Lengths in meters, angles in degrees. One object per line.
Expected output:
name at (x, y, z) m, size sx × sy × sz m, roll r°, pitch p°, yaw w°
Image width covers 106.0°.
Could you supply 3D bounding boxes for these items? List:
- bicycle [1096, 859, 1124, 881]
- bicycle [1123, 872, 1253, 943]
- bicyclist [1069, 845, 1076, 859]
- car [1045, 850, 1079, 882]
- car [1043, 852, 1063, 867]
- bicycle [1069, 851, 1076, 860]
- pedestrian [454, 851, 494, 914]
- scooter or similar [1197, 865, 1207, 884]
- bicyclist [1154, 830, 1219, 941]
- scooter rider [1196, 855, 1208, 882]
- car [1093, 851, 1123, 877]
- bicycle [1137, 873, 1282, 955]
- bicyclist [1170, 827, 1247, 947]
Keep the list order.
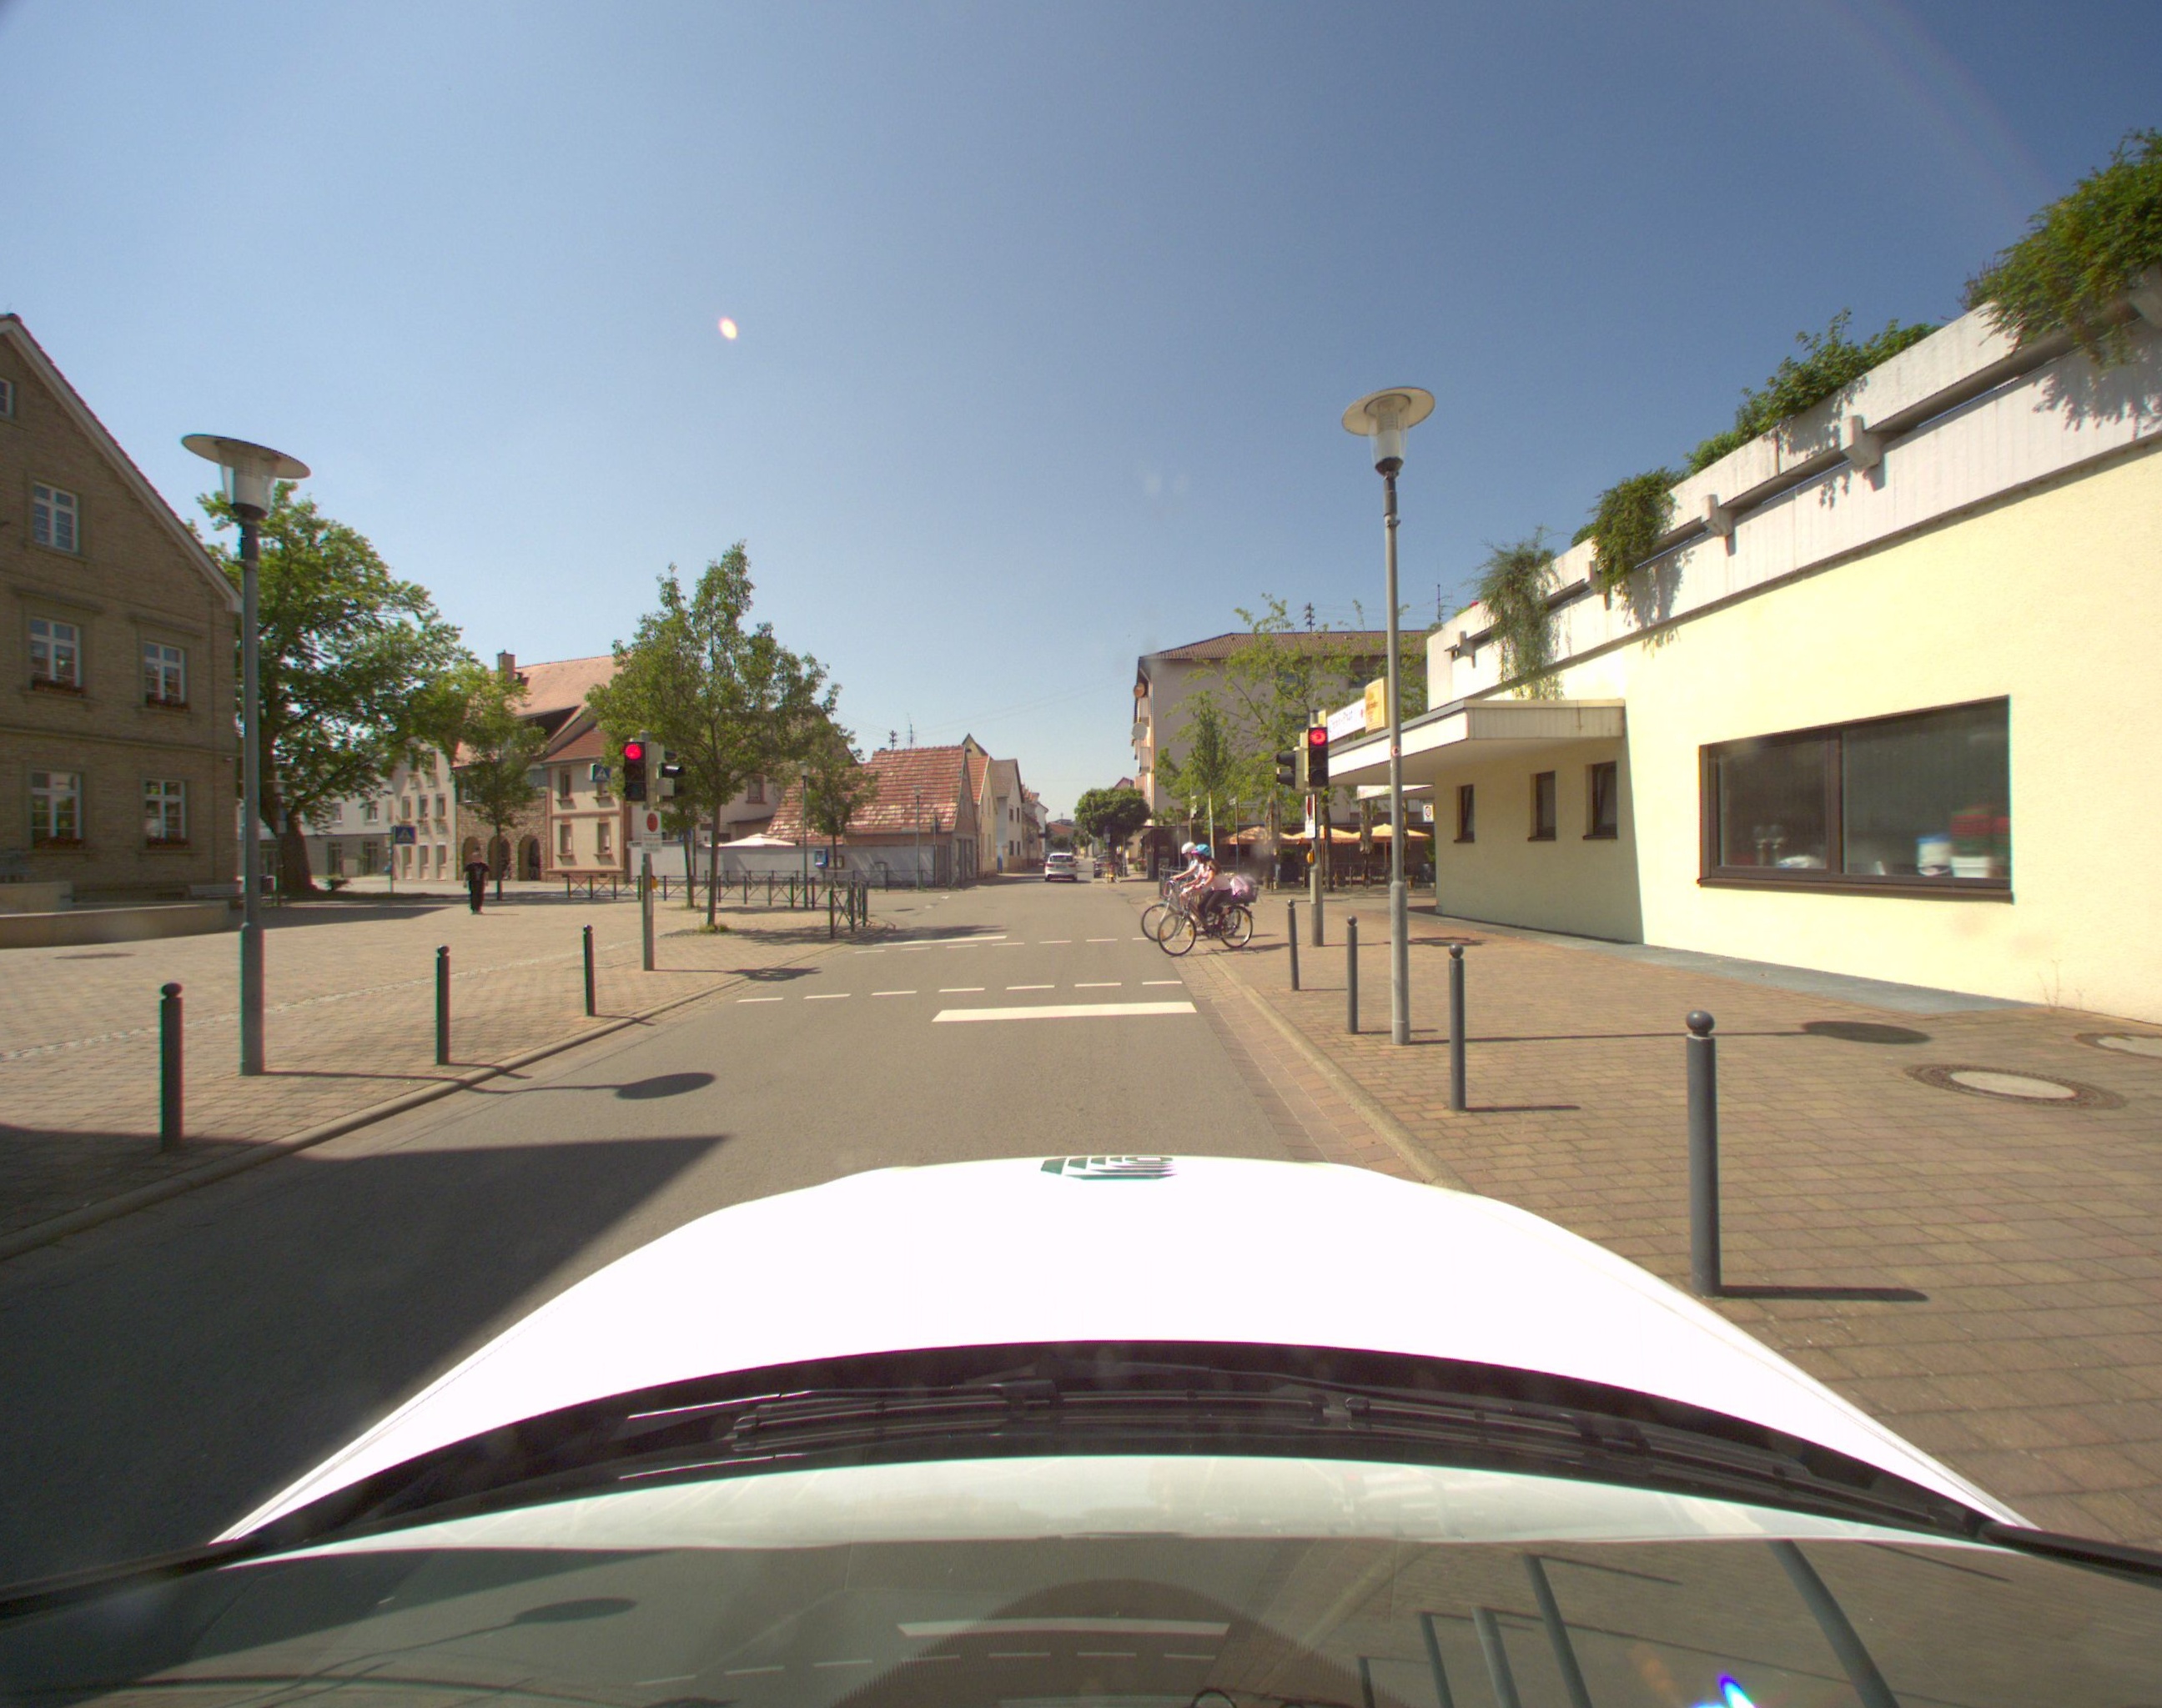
bicycle at (1.544, 0.850, 43.555) m, size 0.530 × 1.193 × 1.655 m, roll -1°, pitch 0°, yaw -42°
bicycle at (1.678, 0.816, 12.881) m, size 1.892 × 0.958 × 0.673 m, roll -3°, pitch 0°, yaw -13°
bicyclist at (-0.971, -0.219, 90.486) m, size 0.671 × 1.483 × 0.770 m, roll -1°, pitch 0°, yaw 1°
car at (-1.101, 0.646, 46.122) m, size 1.829 × 1.652 × 3.996 m, roll 1°, pitch 1°, yaw -3°
car at (-2.809, 0.524, 83.277) m, size 1.707 × 1.517 × 3.789 m, roll -1°, pitch 0°, yaw 3°
bicycle at (-0.971, 0.131, 90.560) m, size 0.662 × 1.006 × 1.898 m, roll -1°, pitch 0°, yaw 1°
pedestrian at (-16.314, 0.759, 21.885) m, size 0.819 × 1.654 × 0.841 m, roll 0°, pitch -1°, yaw -39°
scooter or similar at (5.692, 0.945, 38.285) m, size 0.376 × 0.873 × 0.894 m, roll -1°, pitch 0°, yaw 16°
bicyclist at (1.658, 0.482, 12.880) m, size 0.760 × 1.664 × 0.668 m, roll -3°, pitch 0°, yaw -12°
scooter rider at (5.684, 0.672, 38.281) m, size 0.512 × 1.286 × 0.420 m, roll -1°, pitch 0°, yaw 16°
car at (1.752, 0.610, 52.274) m, size 1.797 × 1.501 × 4.004 m, roll -1°, pitch 0°, yaw 3°
bicycle at (1.806, 0.807, 11.422) m, size 1.897 × 0.958 × 0.671 m, roll -3°, pitch 1°, yaw -22°
bicyclist at (1.781, 0.439, 11.417) m, size 0.762 × 1.581 × 0.666 m, roll -3°, pitch 1°, yaw -21°
